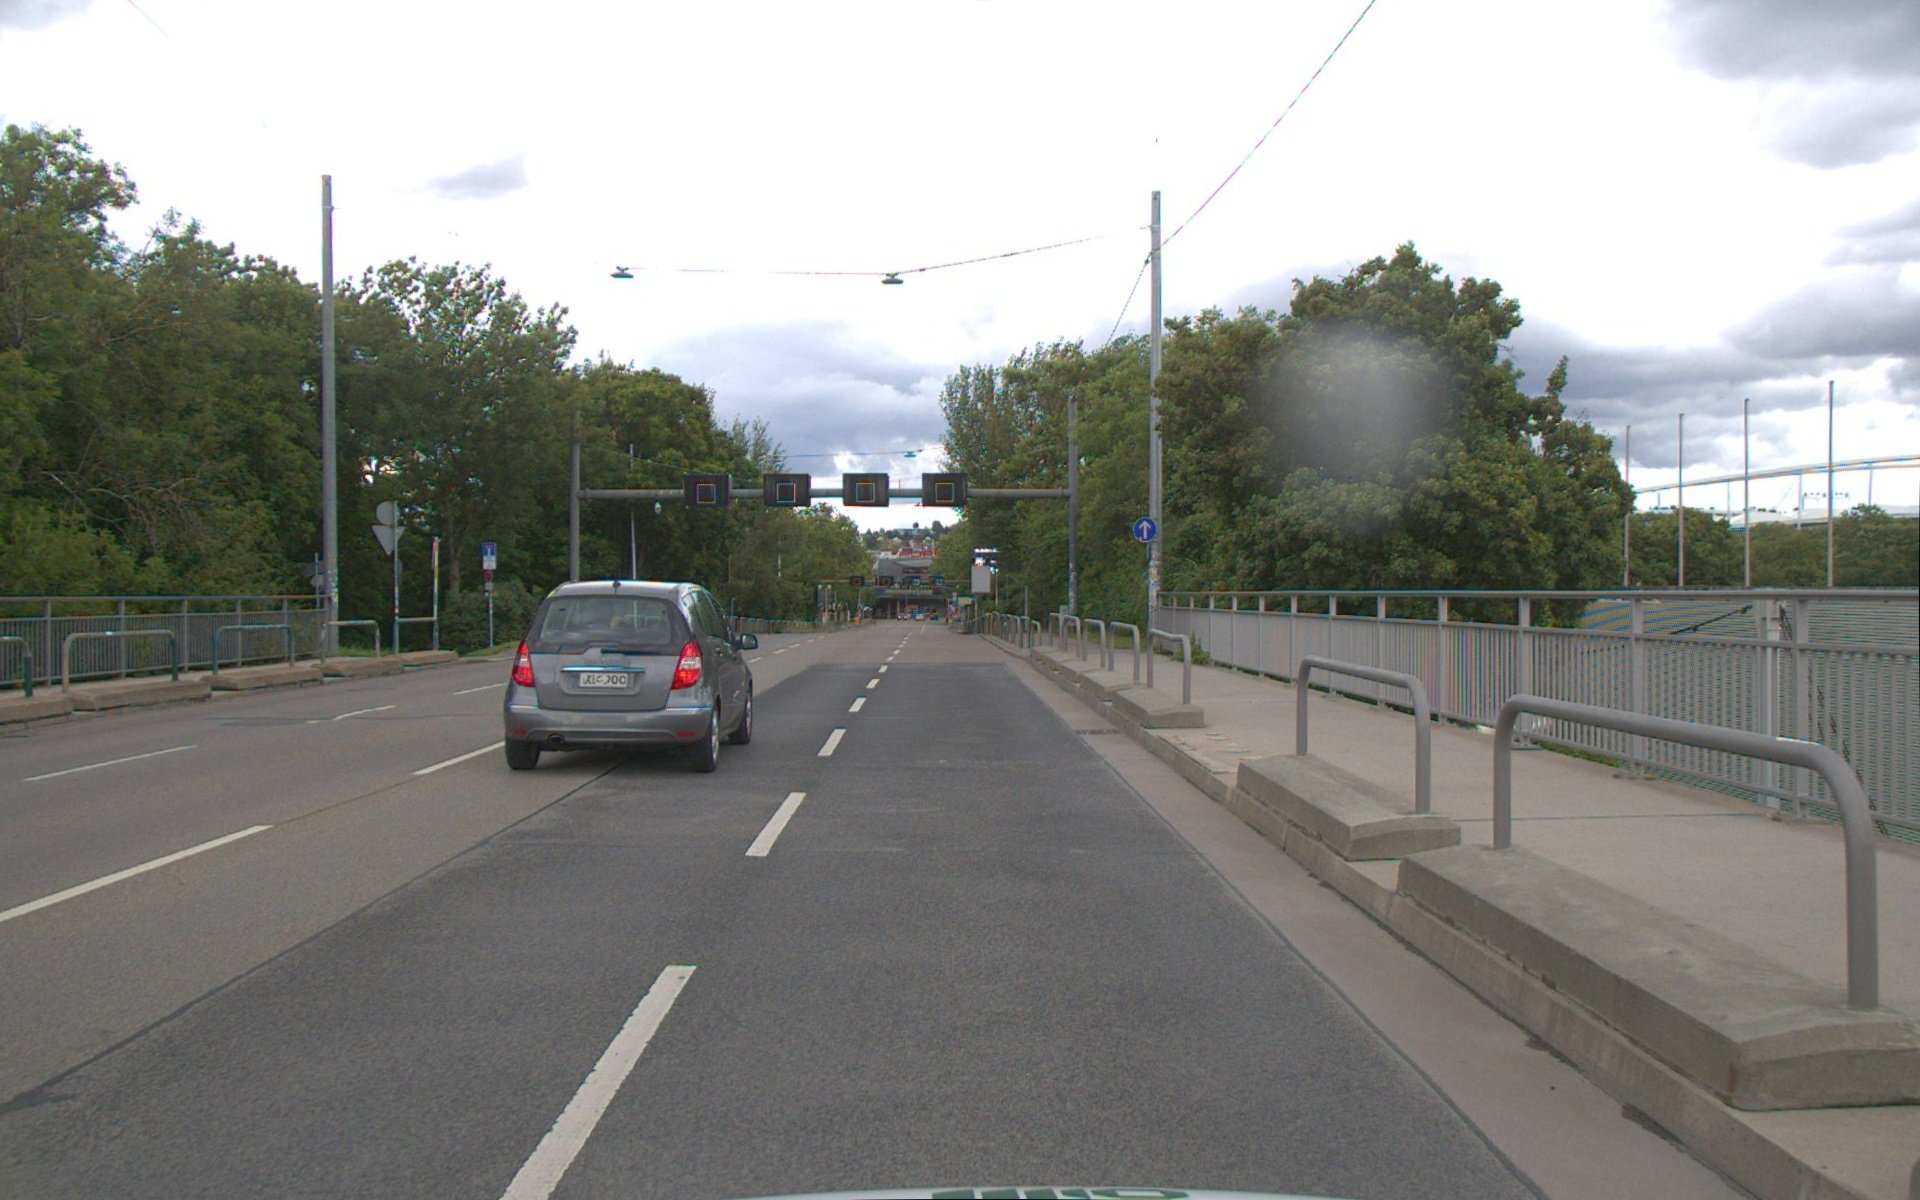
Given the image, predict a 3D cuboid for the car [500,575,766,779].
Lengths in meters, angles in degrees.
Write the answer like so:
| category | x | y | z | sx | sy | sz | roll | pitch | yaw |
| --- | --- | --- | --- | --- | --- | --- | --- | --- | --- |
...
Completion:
| category | x | y | z | sx | sy | sz | roll | pitch | yaw |
| --- | --- | --- | --- | --- | --- | --- | --- | --- | --- |
| car | -2.804 | 0.583 | 14.963 | 1.710 | 1.577 | 3.870 | 1 | 1 | -1 |
